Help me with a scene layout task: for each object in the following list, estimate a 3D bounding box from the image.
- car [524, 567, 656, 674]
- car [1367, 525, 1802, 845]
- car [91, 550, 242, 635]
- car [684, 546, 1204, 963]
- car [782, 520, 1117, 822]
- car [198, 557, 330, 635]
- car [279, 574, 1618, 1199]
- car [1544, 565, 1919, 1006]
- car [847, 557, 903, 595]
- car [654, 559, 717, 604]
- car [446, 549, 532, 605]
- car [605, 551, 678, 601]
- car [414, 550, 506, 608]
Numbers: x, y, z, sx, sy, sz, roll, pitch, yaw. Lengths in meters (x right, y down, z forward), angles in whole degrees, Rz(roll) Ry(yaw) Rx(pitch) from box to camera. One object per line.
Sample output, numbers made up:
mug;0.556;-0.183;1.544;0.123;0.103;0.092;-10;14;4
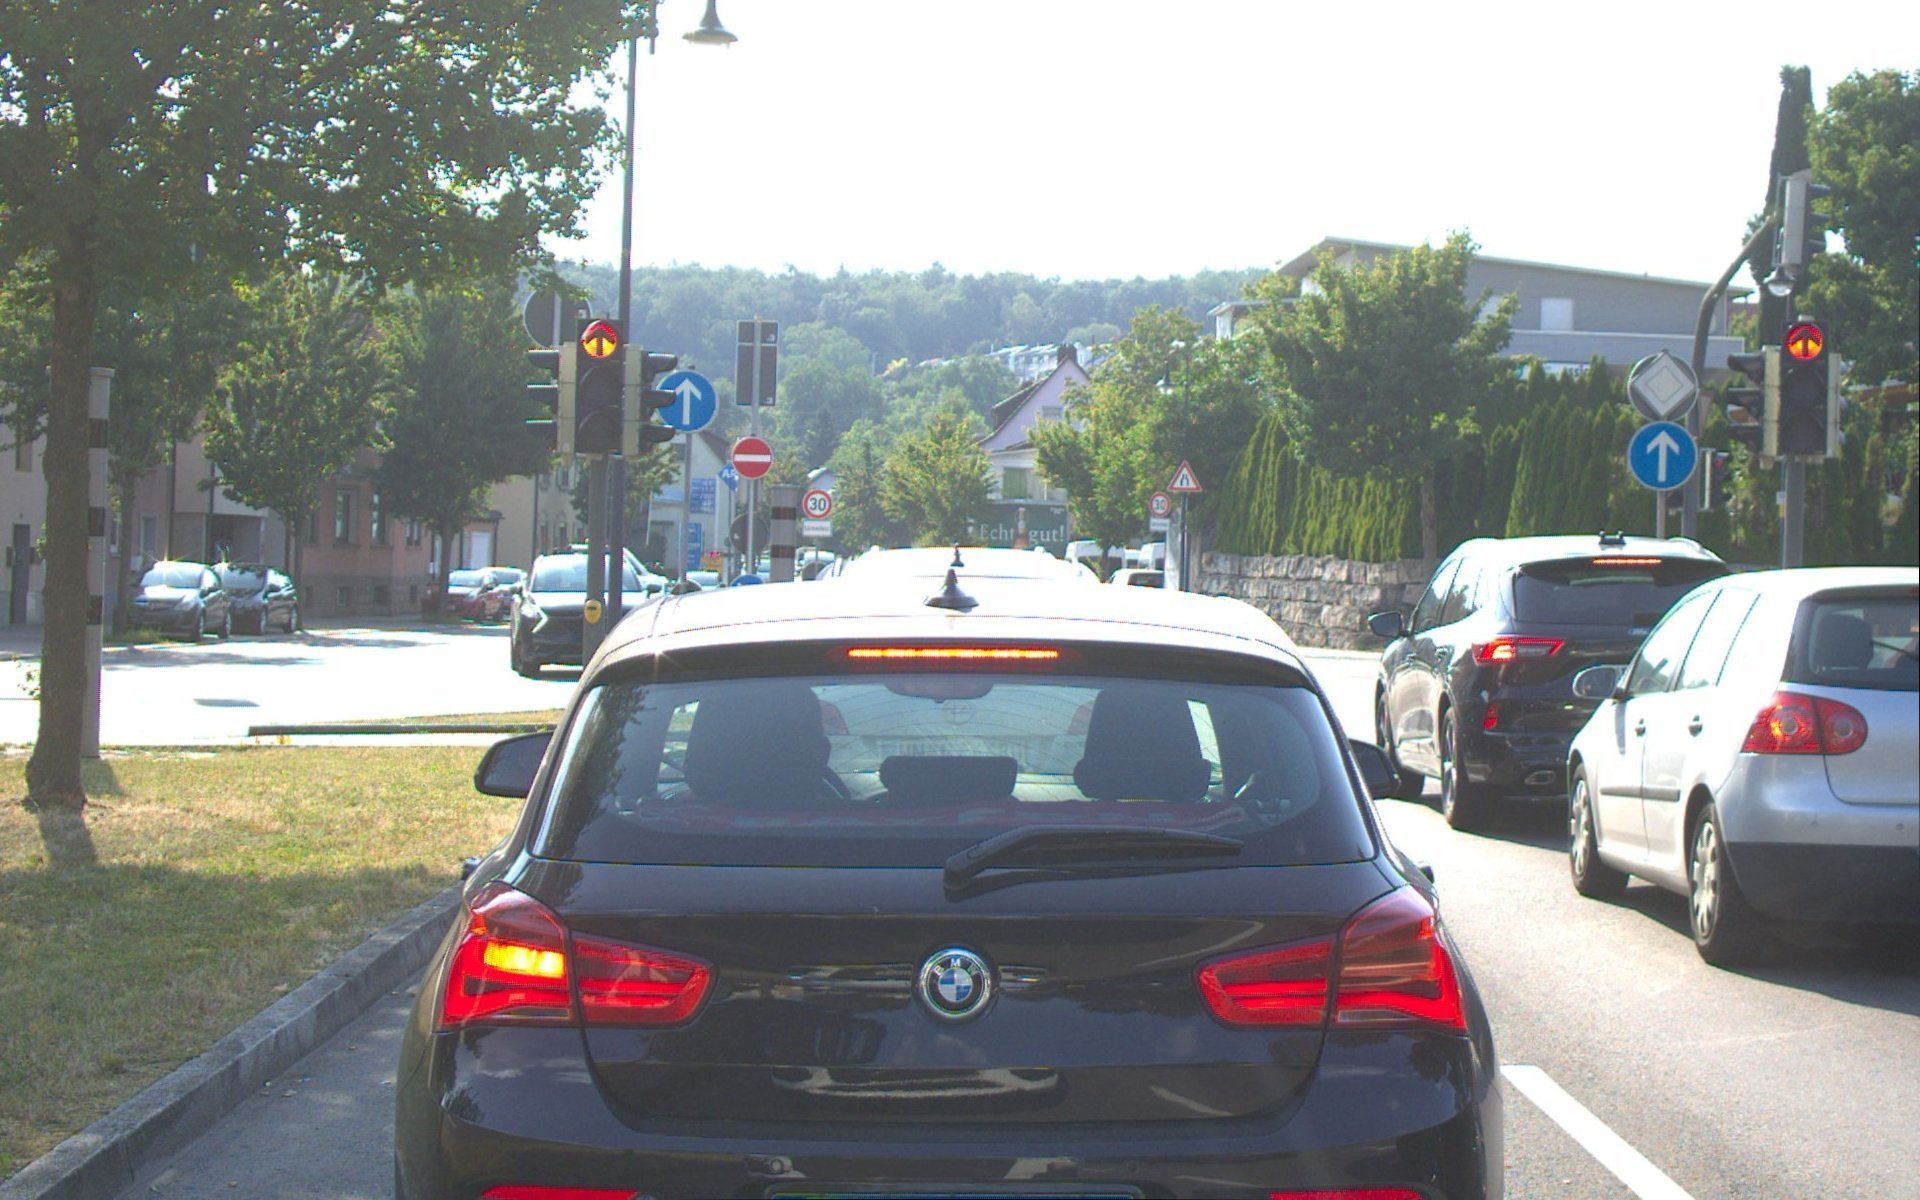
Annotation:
car;-5.078;0.246;46.809;1.692;1.348;4.001;1;1;-7
car;3.539;0.412;20.253;1.816;1.660;4.347;1;1;1
car;-15.465;-0.174;67.186;1.924;1.590;4.000;1;1;1
car;-0.022;0.512;14.227;1.816;1.446;4.242;1;1;1
car;-0.022;0.356;20.966;1.816;1.635;4.242;1;1;1
car;-14.814;-0.105;73.371;1.924;1.590;4.000;1;1;1
car;0.014;0.682;6.796;1.791;1.410;4.347;1;1;1
car;3.573;0.605;13.657;1.816;1.441;4.347;1;1;1
car;-3.448;-0.983;138.759;1.861;1.480;4.660;1;1;-6
car;-10.112;-0.692;126.863;1.924;1.590;4.000;1;1;1
car;-14.058;-0.703;102.816;1.924;1.590;4.000;1;1;1
car;-10.356;-0.799;112.049;1.924;1.590;4.000;1;1;1
car;-14.124;-0.615;97.311;1.924;1.590;4.000;1;1;1
